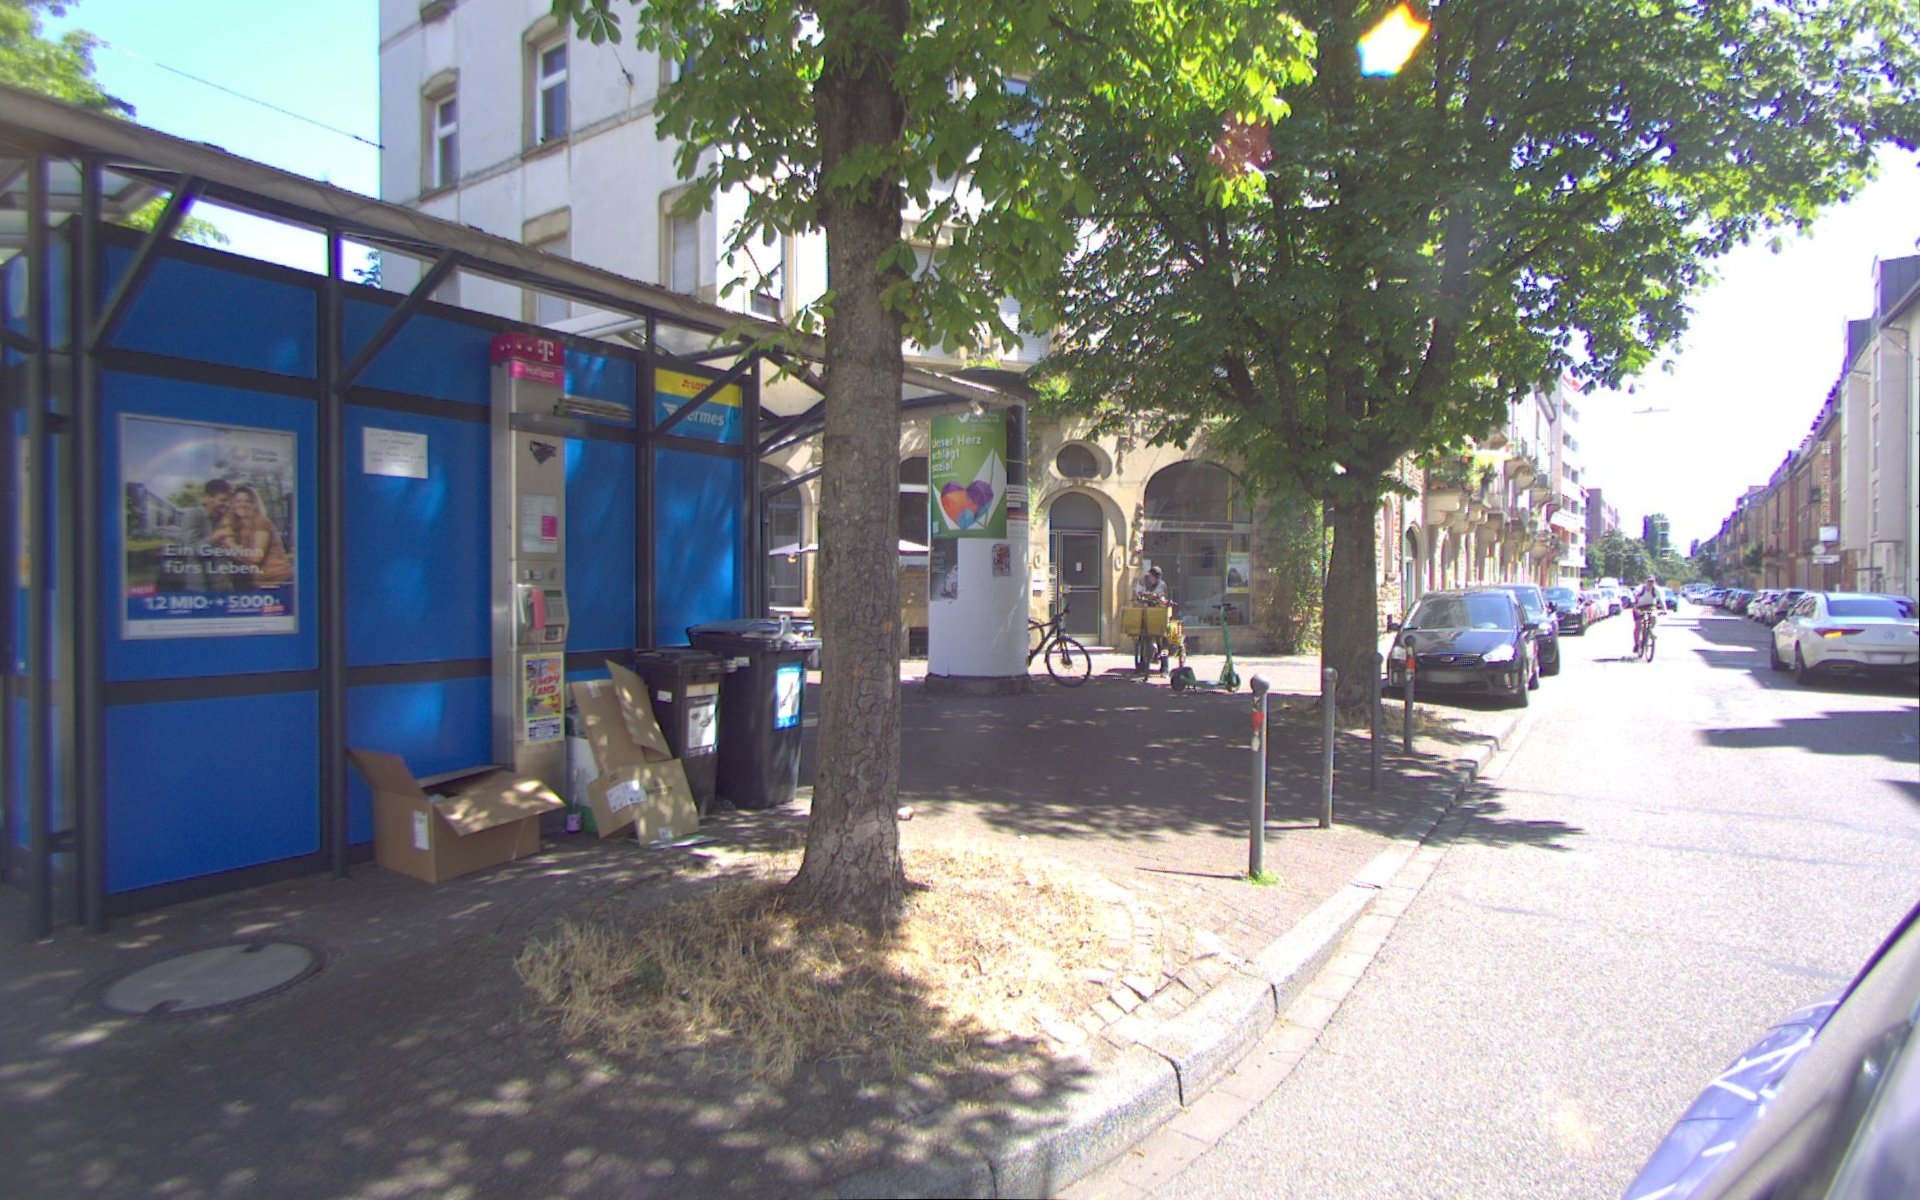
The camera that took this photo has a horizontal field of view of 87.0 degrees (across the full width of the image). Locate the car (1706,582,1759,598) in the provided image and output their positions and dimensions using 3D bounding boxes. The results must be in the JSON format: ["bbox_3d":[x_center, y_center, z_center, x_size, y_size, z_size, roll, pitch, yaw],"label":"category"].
[{"bbox_3d":[73.262,-0.995,96.060,3.977,1.448,1.656,2,2,37],"label":"car"}]

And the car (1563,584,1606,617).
[{"bbox_3d":[29.241,0.012,47.337,1.583,1.471,3.811,-2,0,33],"label":"car"}]

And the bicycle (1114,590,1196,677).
[{"bbox_3d":[3.066,0.458,15.685,0.787,1.183,2.560,1,2,21],"label":"bicycle"}]

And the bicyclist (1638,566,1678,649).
[{"bbox_3d":[14.234,0.137,20.642,0.641,1.670,0.614,1,1,36],"label":"bicyclist"}]

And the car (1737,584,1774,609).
[{"bbox_3d":[51.998,-0.245,66.184,1.625,1.446,3.630,6,4,36],"label":"car"}]

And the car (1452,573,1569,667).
[{"bbox_3d":[10.769,0.323,19.650,1.727,1.617,4.299,-2,0,32],"label":"car"}]

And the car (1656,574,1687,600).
[{"bbox_3d":[47.303,-0.874,67.307,1.615,1.630,3.553,2,2,34],"label":"car"}]

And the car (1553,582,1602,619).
[{"bbox_3d":[26.388,-0.012,43.230,1.565,1.471,3.796,-2,0,34],"label":"car"}]

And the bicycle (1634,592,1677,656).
[{"bbox_3d":[14.065,0.460,20.450,0.667,1.190,2.068,1,2,35],"label":"bicycle"}]

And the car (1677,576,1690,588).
[{"bbox_3d":[126.161,-3.128,176.458,1.777,2.039,3.946,1,1,38],"label":"car"}]

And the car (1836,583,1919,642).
[{"bbox_3d":[26.342,0.307,28.801,1.562,1.510,3.847,3,3,34],"label":"car"}]

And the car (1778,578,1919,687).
[{"bbox_3d":[14.581,0.431,16.199,1.835,1.478,4.310,4,3,34],"label":"car"}]

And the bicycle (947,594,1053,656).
[{"bbox_3d":[0.714,0.438,18.021,1.798,1.052,0.551,0,2,-23],"label":"bicycle"}]

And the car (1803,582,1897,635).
[{"bbox_3d":[29.405,0.217,33.552,1.651,1.537,4.615,4,3,34],"label":"car"}]

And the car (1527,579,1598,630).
[{"bbox_3d":[20.096,0.112,33.688,1.825,1.587,4.551,-2,0,33],"label":"car"}]

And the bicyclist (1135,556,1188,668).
[{"bbox_3d":[3.084,0.170,15.474,0.671,1.668,0.657,1,1,21],"label":"bicyclist"}]

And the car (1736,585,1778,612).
[{"bbox_3d":[48.795,-0.128,62.001,1.774,1.446,3.787,6,4,36],"label":"car"}]

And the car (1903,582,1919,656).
[{"bbox_3d":[19.634,0.448,19.149,1.769,1.477,4.231,3,3,32],"label":"car"}]

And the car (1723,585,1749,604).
[{"bbox_3d":[63.425,-0.490,82.714,1.443,1.415,3.481,6,4,35],"label":"car"}]

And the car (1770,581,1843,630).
[{"bbox_3d":[31.883,0.151,38.194,1.598,1.664,3.929,3,3,34],"label":"car"}]

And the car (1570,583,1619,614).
[{"bbox_3d":[32.555,-0.095,51.891,1.712,1.471,4.536,-2,0,37],"label":"car"}]

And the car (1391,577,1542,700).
[{"bbox_3d":[7.617,0.469,15.023,1.655,1.560,4.131,-2,0,31],"label":"car"}]

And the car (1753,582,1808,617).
[{"bbox_3d":[43.038,-0.059,53.158,1.622,1.567,3.811,6,4,31],"label":"car"}]

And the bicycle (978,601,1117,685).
[{"bbox_3d":[1.207,0.572,14.249,1.894,1.052,0.626,2,2,36],"label":"bicycle"}]

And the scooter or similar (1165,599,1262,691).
[{"bbox_3d":[3.313,0.567,13.228,1.160,1.150,0.444,0,1,-19],"label":"scooter or similar"}]

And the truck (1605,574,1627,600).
[{"bbox_3d":[70.208,-1.408,108.281,1.859,2.764,4.451,2,2,35],"label":"truck"}]

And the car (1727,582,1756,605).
[{"bbox_3d":[60.729,-0.527,78.650,1.442,1.662,3.483,6,4,34],"label":"car"}]
